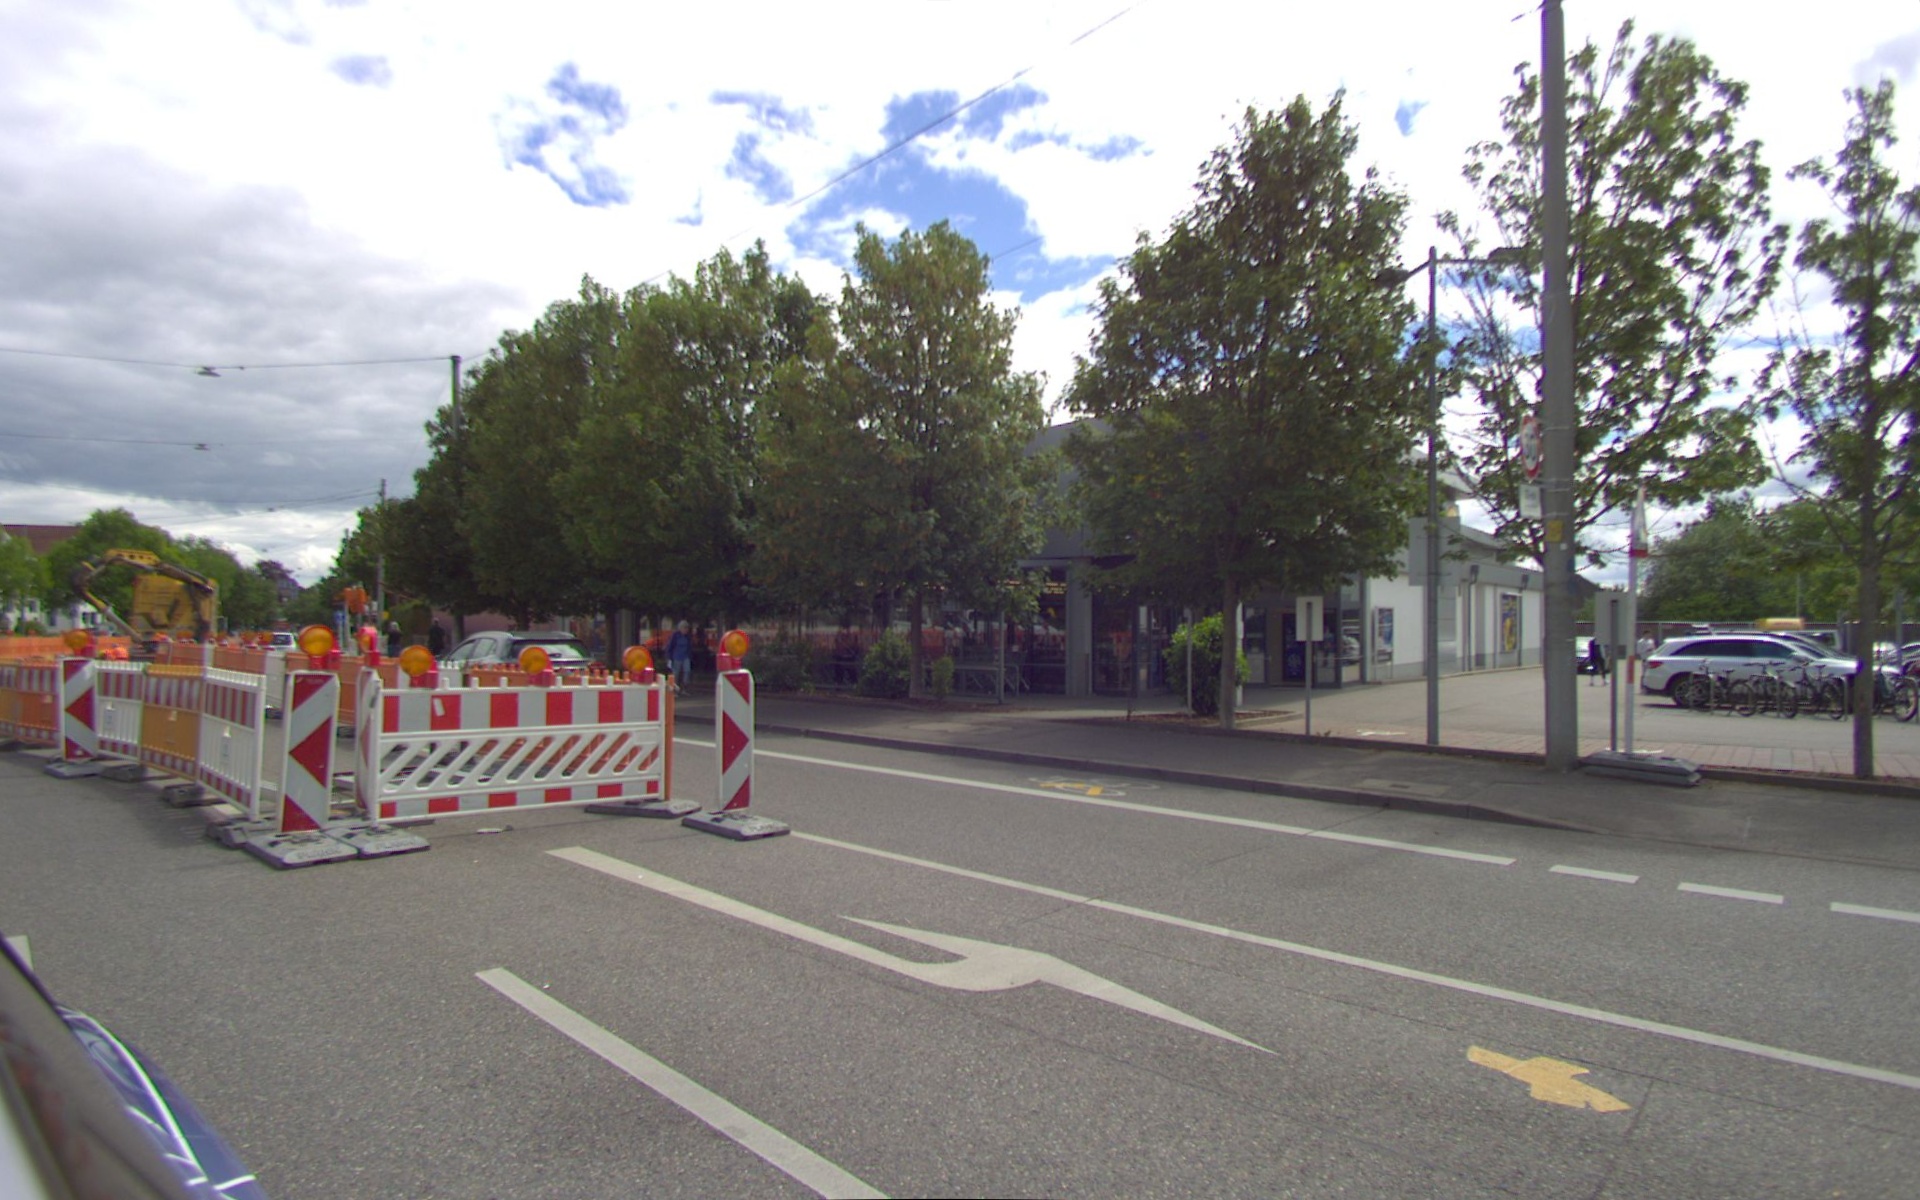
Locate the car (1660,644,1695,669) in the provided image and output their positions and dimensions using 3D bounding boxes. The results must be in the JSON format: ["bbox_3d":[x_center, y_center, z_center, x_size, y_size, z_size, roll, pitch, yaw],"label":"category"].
[{"bbox_3d":[47.344,3.674,66.763,1.714,1.586,3.948,-2,-3,38],"label":"car"}]

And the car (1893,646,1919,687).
[{"bbox_3d":[39.316,2.613,39.615,3.998,1.596,1.973,-2,-4,41],"label":"car"}]

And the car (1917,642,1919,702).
[{"bbox_3d":[28.163,1.959,26.766,3.998,1.708,1.973,-2,-4,41],"label":"car"}]

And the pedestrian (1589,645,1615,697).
[{"bbox_3d":[20.663,2.281,32.578,0.606,1.629,0.499,-2,-3,40],"label":"pedestrian"}]

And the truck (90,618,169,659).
[{"bbox_3d":[-75.781,3.556,92.399,6.573,3.223,2.330,-5,-4,16],"label":"truck"}]

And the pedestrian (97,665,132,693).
[{"bbox_3d":[-30.877,2.876,36.957,0.632,0.998,0.795,1,-3,-11],"label":"pedestrian"}]

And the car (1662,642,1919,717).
[{"bbox_3d":[19.771,1.822,24.252,4.670,1.584,1.973,-2,-3,40],"label":"car"}]

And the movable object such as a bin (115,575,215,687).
[{"bbox_3d":[-34.060,1.417,43.702,2.556,4.254,11.148,2,-3,-34],"label":"movable object such as a bin"}]

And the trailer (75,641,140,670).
[{"bbox_3d":[-72.057,4.653,85.699,2.556,2.262,5.692,-2,-2,-22],"label":"trailer"}]

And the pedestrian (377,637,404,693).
[{"bbox_3d":[-19.348,2.197,34.406,0.685,1.861,0.624,1,-3,-20],"label":"pedestrian"}]

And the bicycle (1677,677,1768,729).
[{"bbox_3d":[15.742,2.107,20.940,0.344,0.964,1.886,0,-3,-3],"label":"bicycle"}]

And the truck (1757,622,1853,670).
[{"bbox_3d":[50.799,2.742,60.947,4.310,2.792,1.973,-2,-3,40],"label":"truck"}]

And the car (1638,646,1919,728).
[{"bbox_3d":[18.031,1.844,22.545,4.670,1.584,1.973,-2,-3,40],"label":"car"}]

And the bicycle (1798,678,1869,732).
[{"bbox_3d":[17.380,2.076,20.177,0.346,0.964,1.873,-1,-3,18],"label":"bicycle"}]

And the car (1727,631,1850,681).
[{"bbox_3d":[41.821,2.769,51.211,4.695,2.413,1.973,-2,-3,40],"label":"car"}]

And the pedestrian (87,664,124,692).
[{"bbox_3d":[-31.850,2.908,37.735,0.779,0.998,0.814,1,-3,-21],"label":"pedestrian"}]

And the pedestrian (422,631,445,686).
[{"bbox_3d":[-18.091,2.014,34.778,0.616,1.861,0.624,1,-3,-20],"label":"pedestrian"}]

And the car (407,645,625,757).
[{"bbox_3d":[-7.084,1.476,15.969,1.833,1.525,4.002,3,-4,-45],"label":"car"}]

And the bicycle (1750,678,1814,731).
[{"bbox_3d":[16.687,2.094,20.583,0.346,0.964,1.873,-1,-3,18],"label":"bicycle"}]

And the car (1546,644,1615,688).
[{"bbox_3d":[25.840,2.687,42.083,1.997,1.697,3.948,-2,-3,38],"label":"car"}]

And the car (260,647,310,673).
[{"bbox_3d":[-40.968,3.605,61.501,1.828,1.464,4.013,0,-2,-23],"label":"car"}]

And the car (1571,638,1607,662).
[{"bbox_3d":[43.496,3.458,69.942,1.714,1.586,3.948,-2,-3,38],"label":"car"}]

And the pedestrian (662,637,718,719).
[{"bbox_3d":[-5.510,1.566,20.642,0.829,1.615,0.745,-2,-3,39],"label":"pedestrian"}]

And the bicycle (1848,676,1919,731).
[{"bbox_3d":[18.074,2.002,19.784,0.346,0.964,1.873,-1,-3,18],"label":"bicycle"}]
